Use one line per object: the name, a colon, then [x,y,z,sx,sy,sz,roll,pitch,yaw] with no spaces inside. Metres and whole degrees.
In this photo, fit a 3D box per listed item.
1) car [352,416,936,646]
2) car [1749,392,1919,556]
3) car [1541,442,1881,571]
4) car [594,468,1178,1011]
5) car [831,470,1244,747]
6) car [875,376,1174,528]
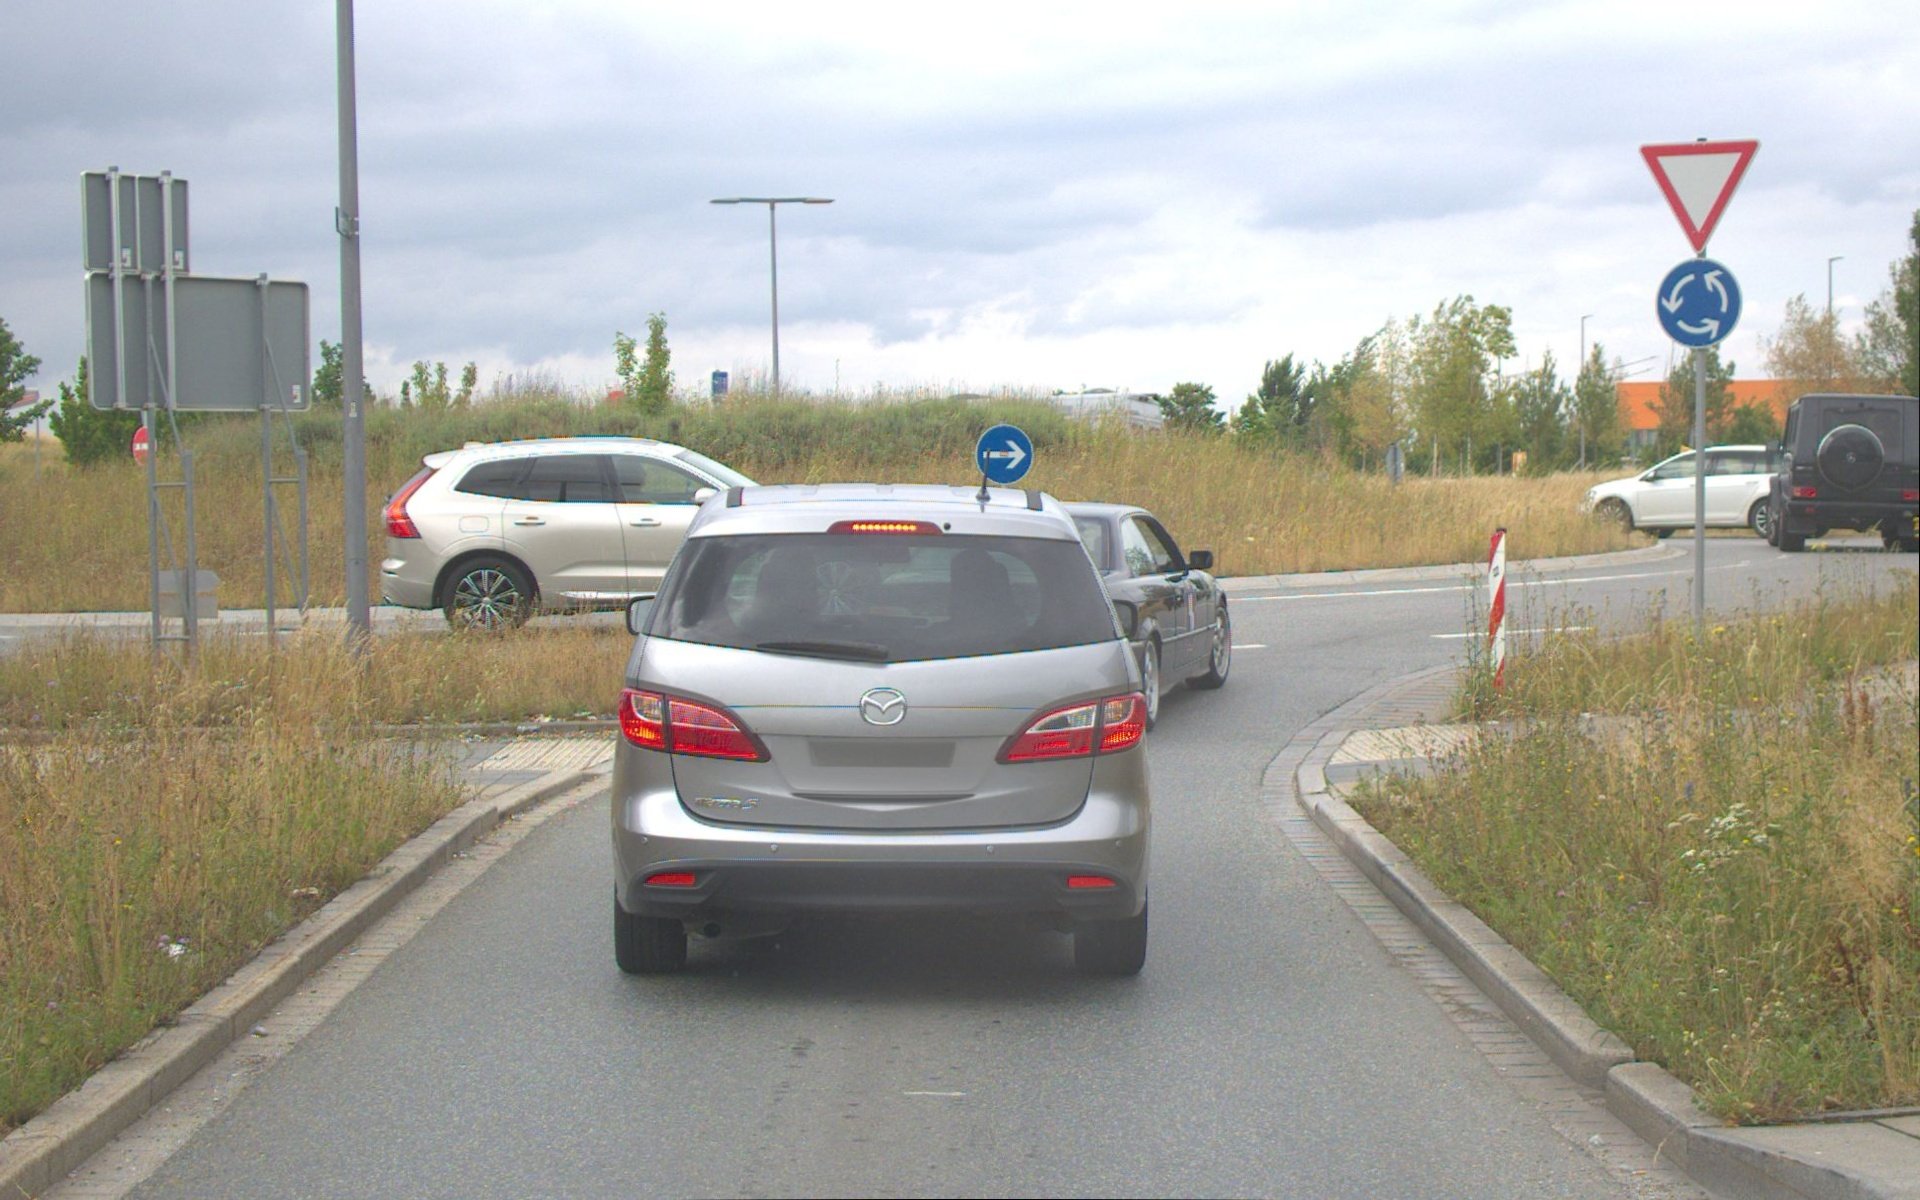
car: [-2.655,-0.626,29.427,4.758,1.732,1.945,-2,4,-3]
car: [11.309,-1.666,44.103,2.078,1.880,4.773,-1,4,10]
car: [11.792,-1.491,54.072,4.769,1.880,2.080,1,5,36]
car: [-0.268,0.348,12.362,1.738,1.593,3.998,1,2,-1]
car: [0.589,-0.030,21.691,1.739,1.398,3.996,1,5,14]
car: [1.131,-2.597,60.336,4.765,2.535,2.082,0,4,24]
